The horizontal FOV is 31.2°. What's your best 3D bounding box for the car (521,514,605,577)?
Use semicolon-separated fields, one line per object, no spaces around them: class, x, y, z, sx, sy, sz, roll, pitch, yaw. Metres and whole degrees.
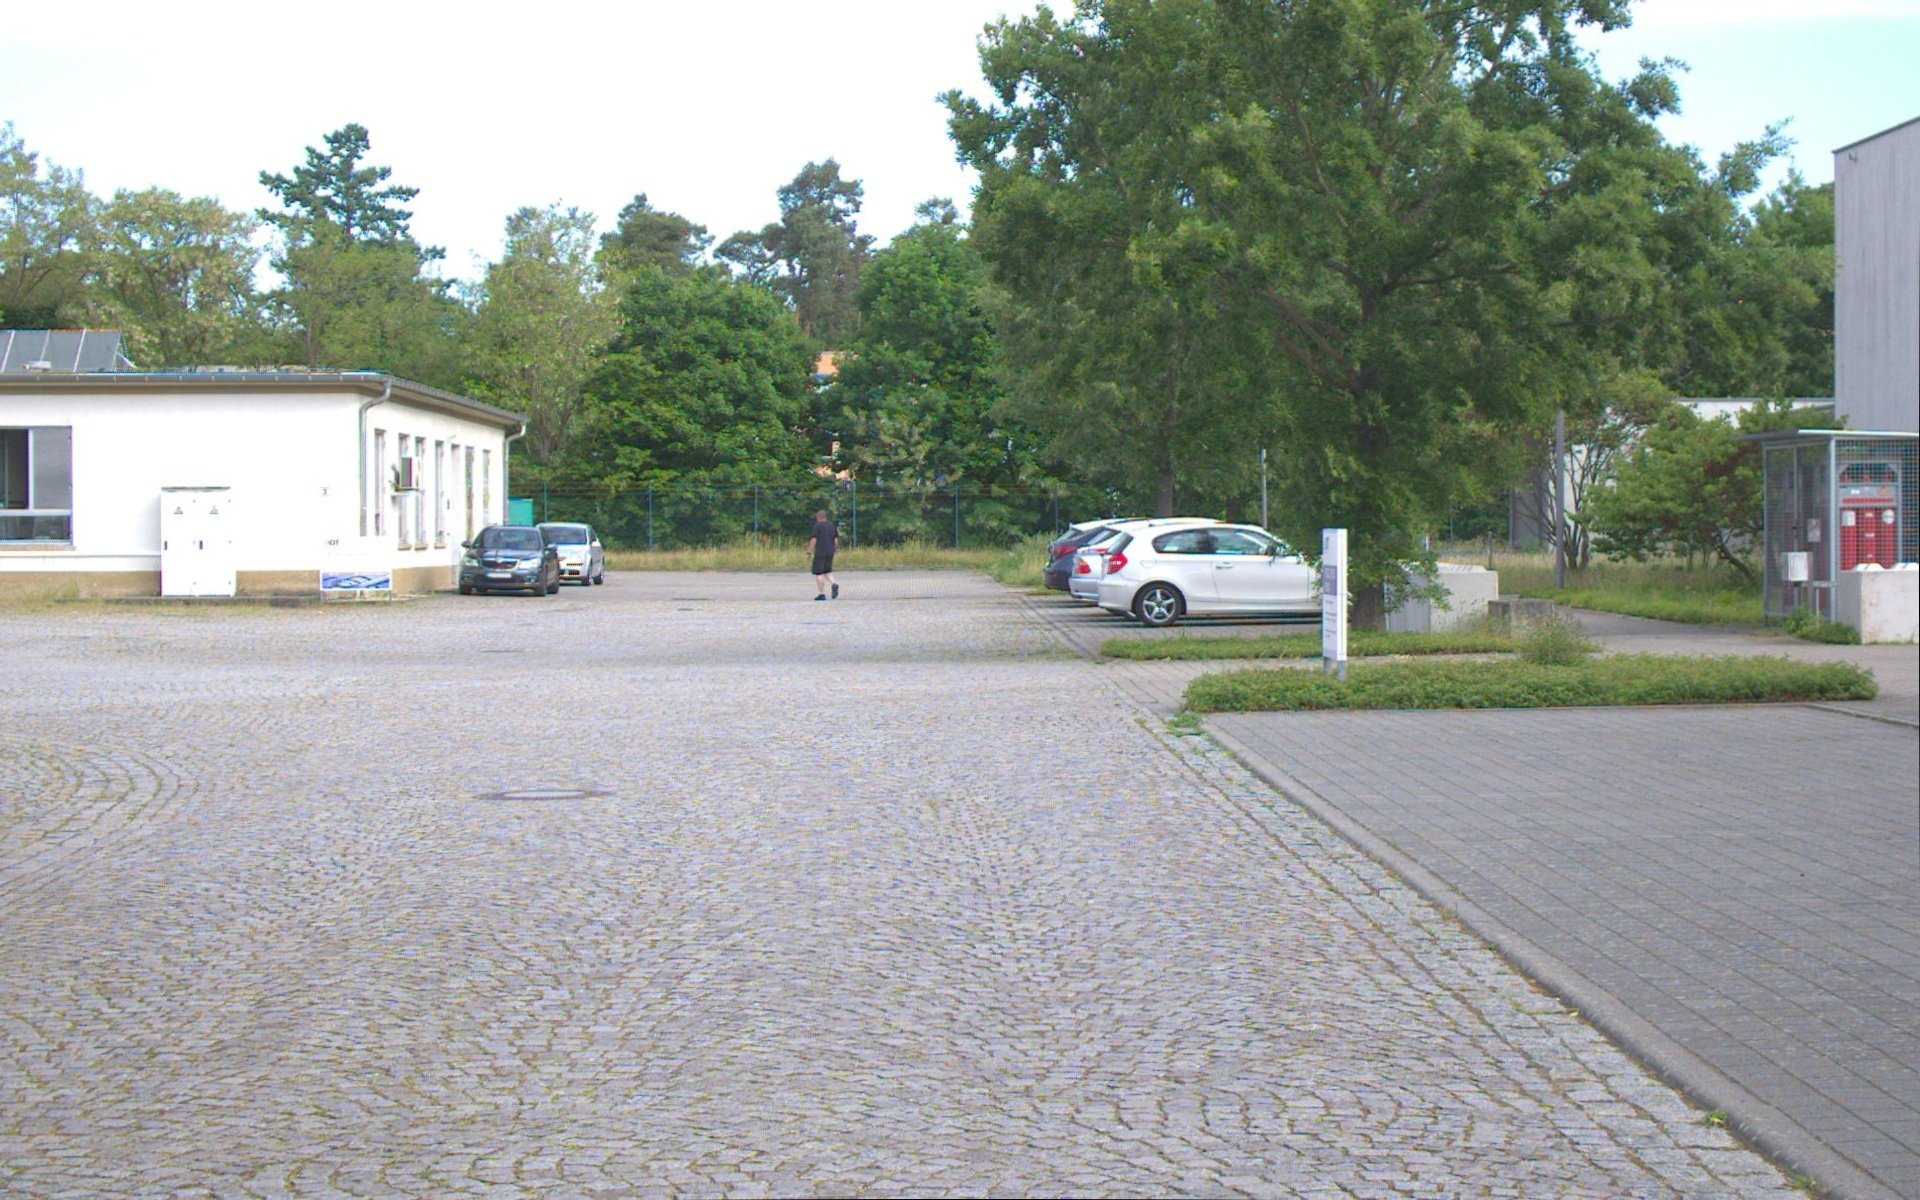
car;-9.413;-1.321;81.725;1.748;1.449;4.001;0;1;-3

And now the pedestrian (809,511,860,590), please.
pedestrian;-2.513;-0.995;68.514;0.939;1.563;0.971;-1;1;-6

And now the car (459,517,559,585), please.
car;-9.352;-1.029;71.496;1.748;1.359;4.001;0;1;-3

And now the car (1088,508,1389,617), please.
car;3.822;-0.519;47.643;3.987;1.450;2.000;0;1;0

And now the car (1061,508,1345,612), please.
car;3.488;-0.593;49.808;3.987;1.450;1.697;0;1;0

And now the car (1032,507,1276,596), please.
car;3.228;-0.819;57.748;3.987;1.450;1.770;0;1;0

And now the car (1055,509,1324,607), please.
car;3.493;-0.661;52.848;3.987;1.450;1.770;0;1;0

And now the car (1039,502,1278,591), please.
car;3.497;-0.958;60.964;3.986;1.528;2.000;0;1;-4
